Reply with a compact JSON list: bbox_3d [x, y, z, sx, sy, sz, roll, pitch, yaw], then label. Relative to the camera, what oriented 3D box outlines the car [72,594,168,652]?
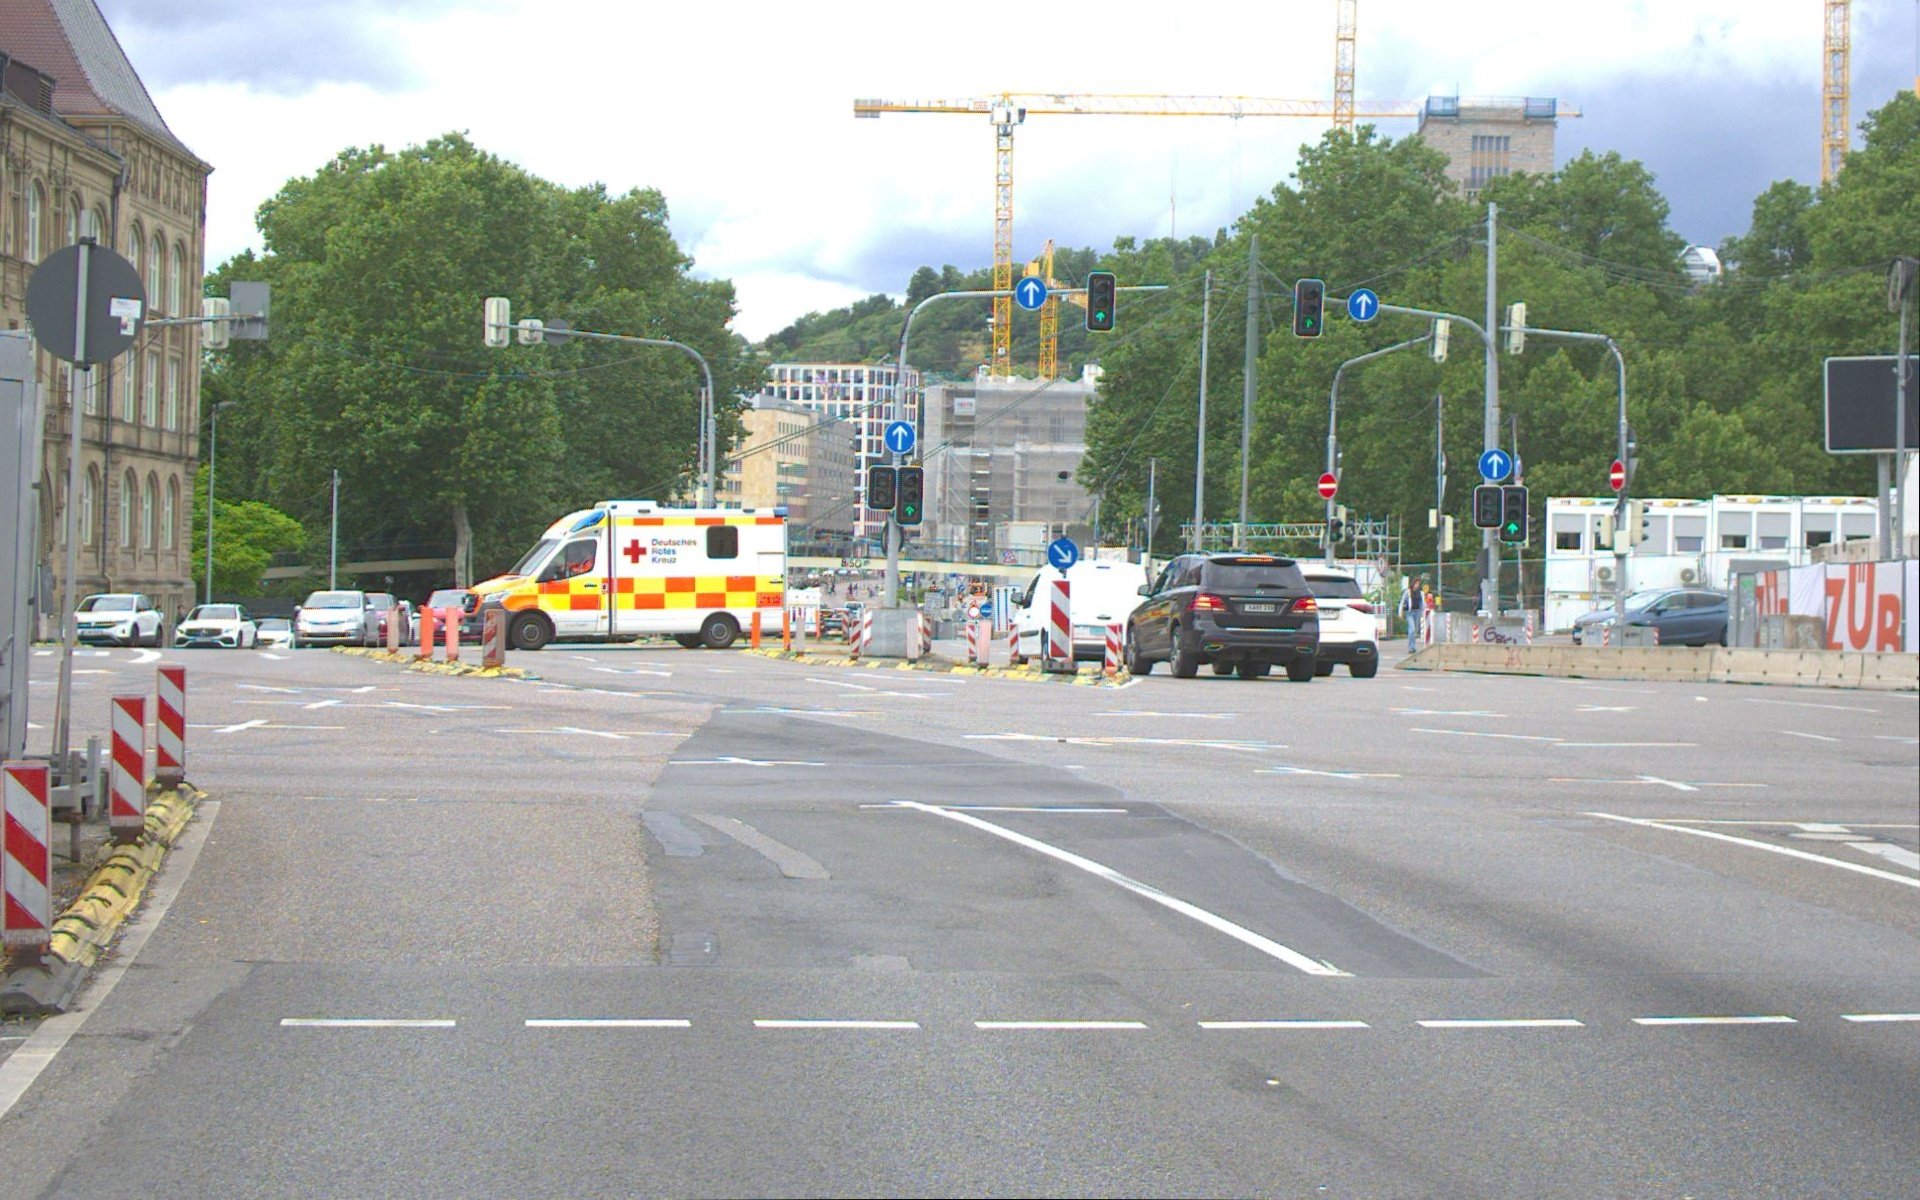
[{"bbox_3d":[-21.520,0.568,88.149,1.676,1.393,3.683,1,1,-2],"label":"car"}]

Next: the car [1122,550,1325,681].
[{"bbox_3d":[3.662,0.189,48.492,1.831,1.740,4.257,1,1,-10],"label":"car"}]

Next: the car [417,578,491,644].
[{"bbox_3d":[-12.450,0.255,84.730,1.675,1.575,3.684,1,1,-7],"label":"car"}]

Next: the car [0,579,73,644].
[{"bbox_3d":[-21.440,0.246,76.255,1.677,1.393,3.679,1,1,19],"label":"car"}]

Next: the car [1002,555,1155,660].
[{"bbox_3d":[1.888,0.099,56.004,1.816,1.619,4.001,1,1,-8],"label":"car"}]

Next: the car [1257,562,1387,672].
[{"bbox_3d":[5.764,0.249,55.069,1.676,1.696,3.374,1,1,-1],"label":"car"}]

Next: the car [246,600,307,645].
[{"bbox_3d":[-22.743,0.740,114.439,1.675,1.393,3.684,1,1,-7],"label":"car"}]

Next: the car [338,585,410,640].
[{"bbox_3d":[-15.638,0.331,91.875,1.675,1.393,3.684,1,1,-7],"label":"car"}]

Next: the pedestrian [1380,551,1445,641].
[{"bbox_3d":[10.284,-0.091,78.162,1.094,2.007,1.185,1,0,-12],"label":"pedestrian"}]

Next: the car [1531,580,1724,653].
[{"bbox_3d":[15.451,0.384,79.648,3.986,1.619,1.823,1,0,-19],"label":"car"}]

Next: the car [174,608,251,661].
[{"bbox_3d":[-22.139,1.018,101.934,1.676,1.393,3.684,2,1,-4],"label":"car"}]

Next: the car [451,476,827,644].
[{"bbox_3d":[-6.124,-0.740,65.599,6.735,3.041,2.373,1,0,-18],"label":"car"}]

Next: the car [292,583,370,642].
[{"bbox_3d":[-15.645,0.292,85.640,1.675,1.393,3.684,1,1,-7],"label":"car"}]
